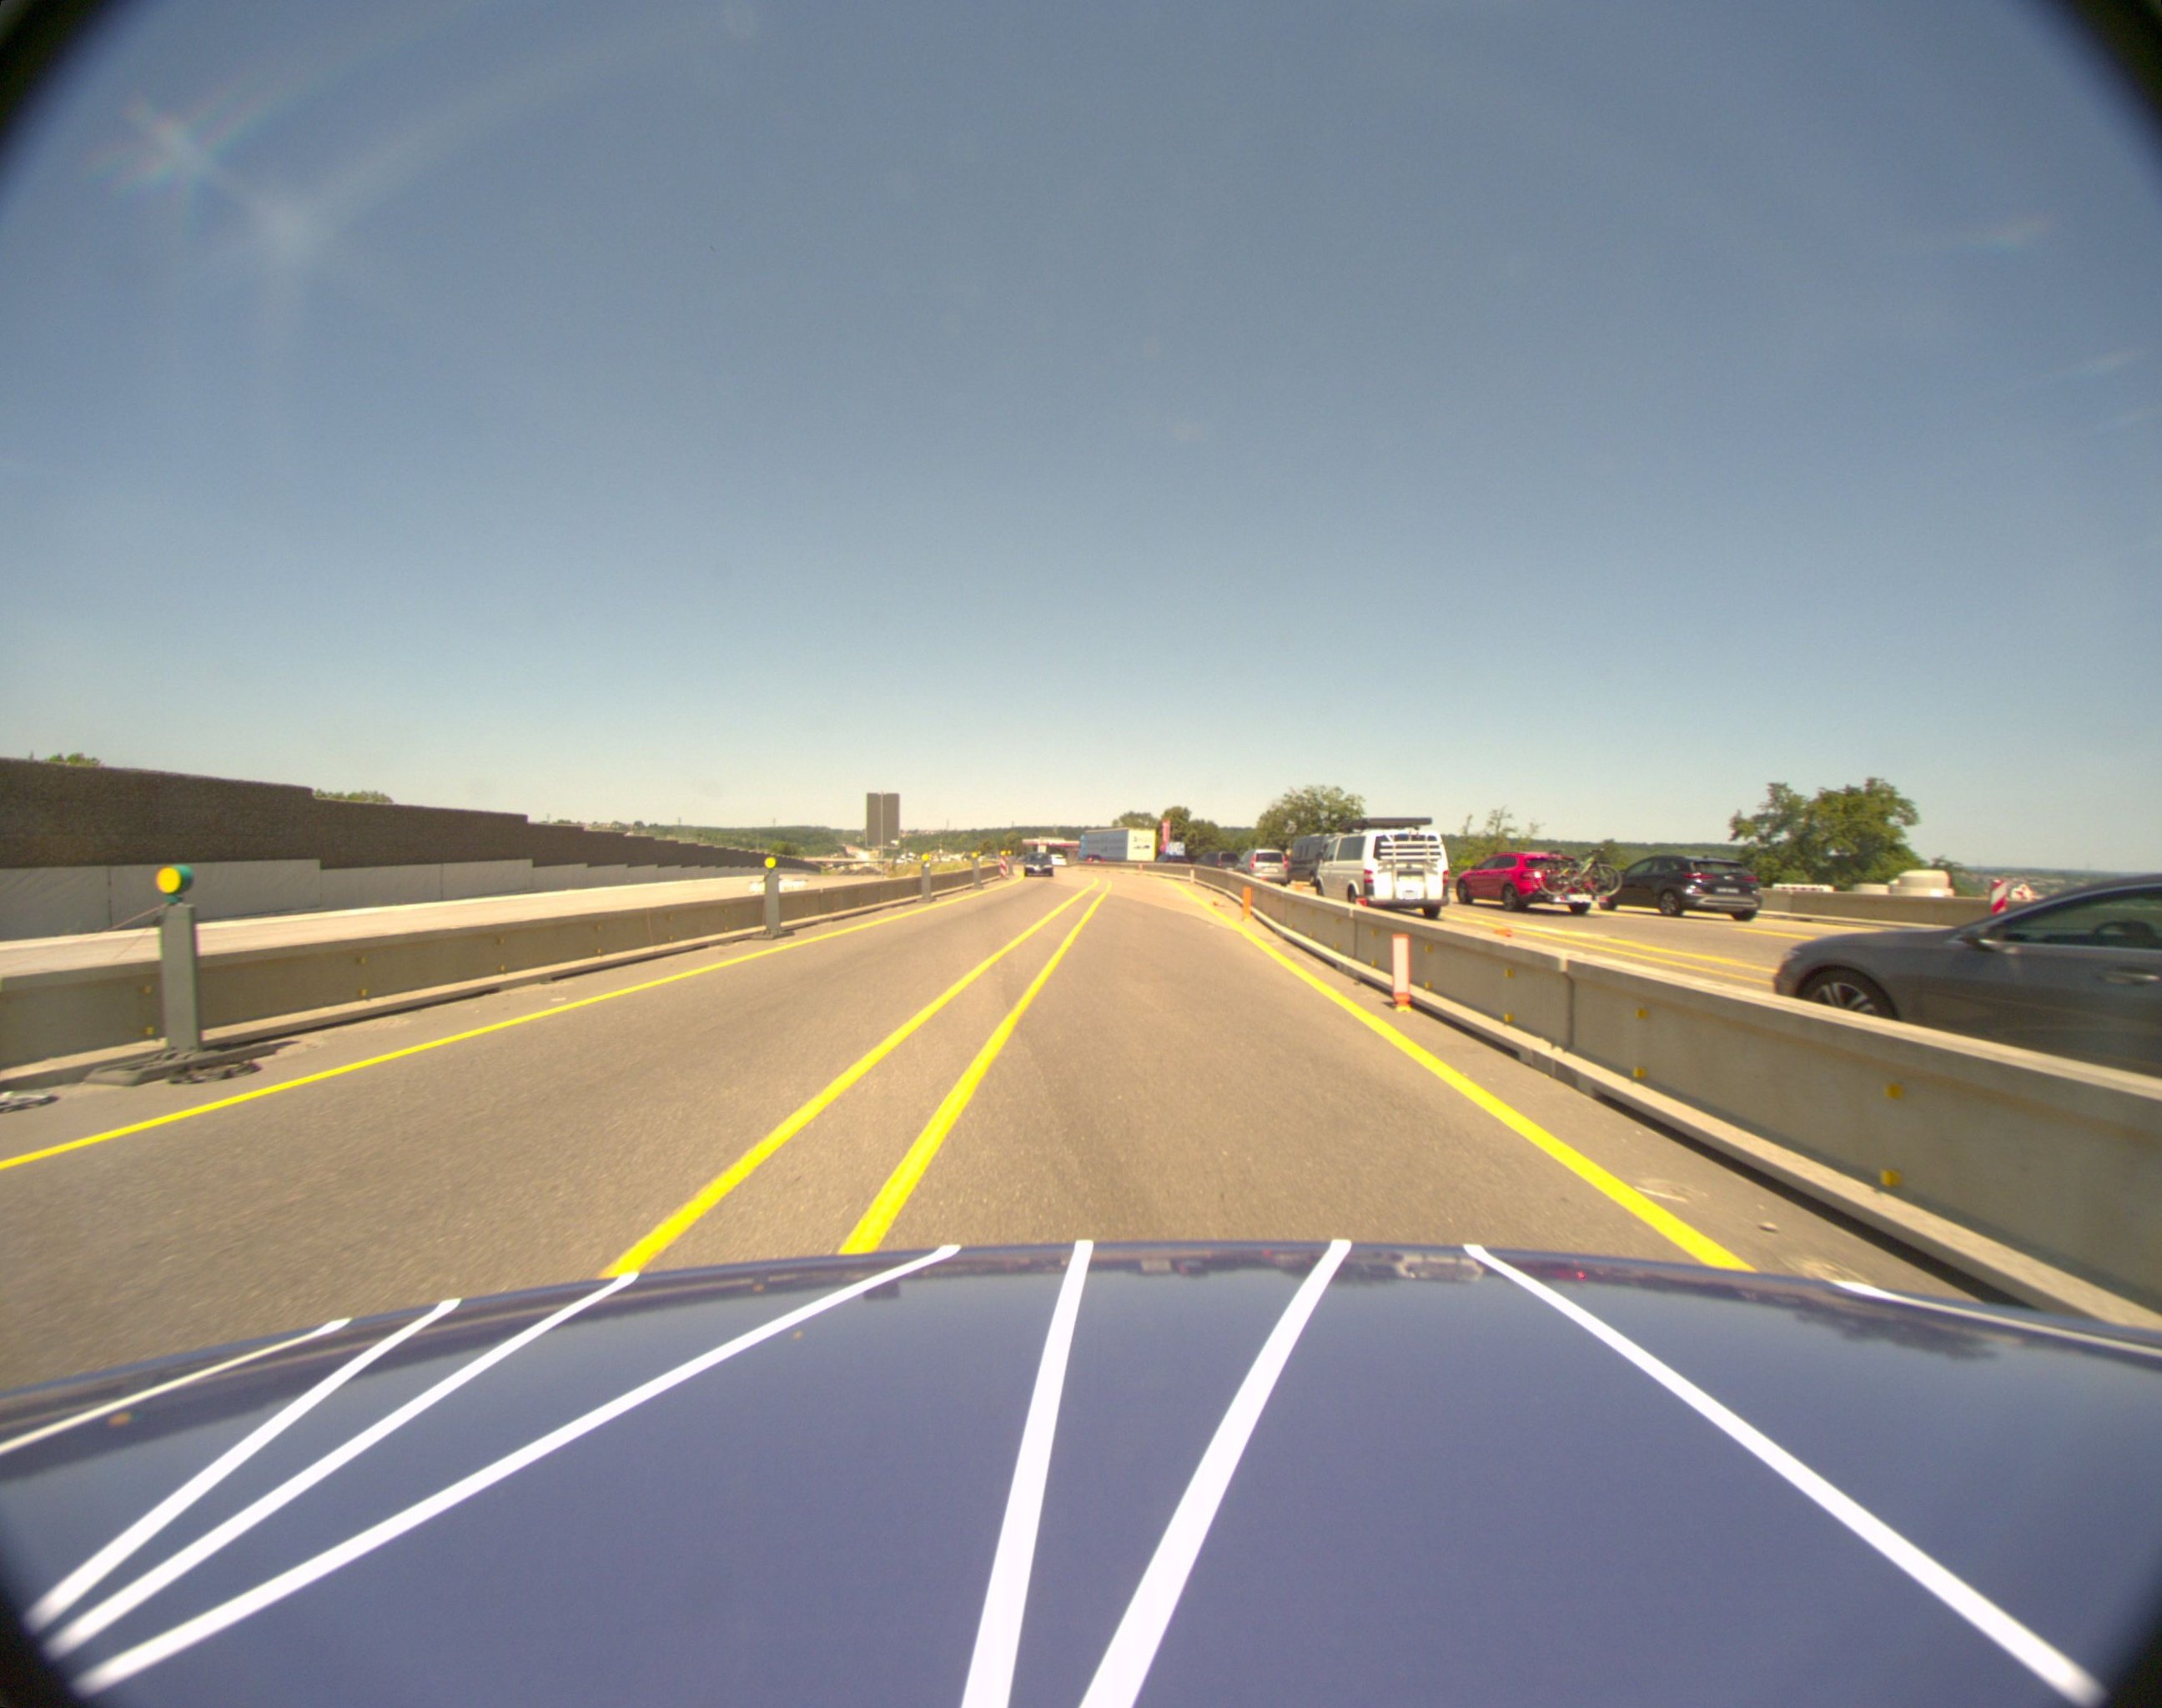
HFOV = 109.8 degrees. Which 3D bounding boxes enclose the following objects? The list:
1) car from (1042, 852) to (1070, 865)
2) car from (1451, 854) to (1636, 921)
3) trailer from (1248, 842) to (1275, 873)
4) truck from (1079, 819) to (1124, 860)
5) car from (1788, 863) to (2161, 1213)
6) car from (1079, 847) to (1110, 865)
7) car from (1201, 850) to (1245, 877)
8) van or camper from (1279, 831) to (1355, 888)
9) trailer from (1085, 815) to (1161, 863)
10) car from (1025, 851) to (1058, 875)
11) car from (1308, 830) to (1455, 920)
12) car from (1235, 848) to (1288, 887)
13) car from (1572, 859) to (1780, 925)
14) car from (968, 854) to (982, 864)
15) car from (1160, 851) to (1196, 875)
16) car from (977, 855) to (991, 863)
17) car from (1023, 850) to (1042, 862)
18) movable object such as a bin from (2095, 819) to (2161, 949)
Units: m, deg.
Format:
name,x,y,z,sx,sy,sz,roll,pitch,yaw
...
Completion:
name,x,y,z,sx,sy,sz,roll,pitch,yaw
car,-2.838,0.523,84.465,2.024,1.436,4.581,0,0,-16
car,11.374,0.741,19.170,1.998,1.493,4.655,0,0,2
trailer,26.198,0.653,110.601,3.155,4.086,14.179,3,-1,11
truck,2.080,-1.470,80.420,2.926,4.104,6.129,2,0,-16
car,5.906,0.908,3.558,1.513,1.595,3.952,-1,1,0
car,1.238,0.170,71.547,1.775,1.598,4.703,3,0,-13
car,9.827,0.635,53.092,1.780,1.754,4.707,3,0,-5
van or camper,11.545,0.235,37.705,2.103,2.526,6.306,2,0,4
trailer,3.781,-1.390,74.399,2.926,4.104,13.895,2,0,-16
car,-2.328,0.567,44.570,1.811,1.299,4.000,2,-2,-4
car,6.980,0.433,18.274,1.876,1.862,5.060,0,0,4
car,7.800,0.547,33.108,1.760,1.606,4.230,0,0,7
car,15.161,0.885,19.770,1.809,1.385,4.655,3,0,2
car,-17.883,0.882,128.232,1.710,1.674,3.783,-1,0,-17
car,6.436,0.591,50.974,1.694,1.472,4.470,3,0,-1
car,-17.706,0.890,138.586,1.740,1.470,4.513,0,0,-16
car,-6.267,0.238,98.683,1.595,1.432,4.119,3,-1,-16
movable object such as a bin,23.694,0.489,12.325,7.911,2.418,3.724,-1,1,22
